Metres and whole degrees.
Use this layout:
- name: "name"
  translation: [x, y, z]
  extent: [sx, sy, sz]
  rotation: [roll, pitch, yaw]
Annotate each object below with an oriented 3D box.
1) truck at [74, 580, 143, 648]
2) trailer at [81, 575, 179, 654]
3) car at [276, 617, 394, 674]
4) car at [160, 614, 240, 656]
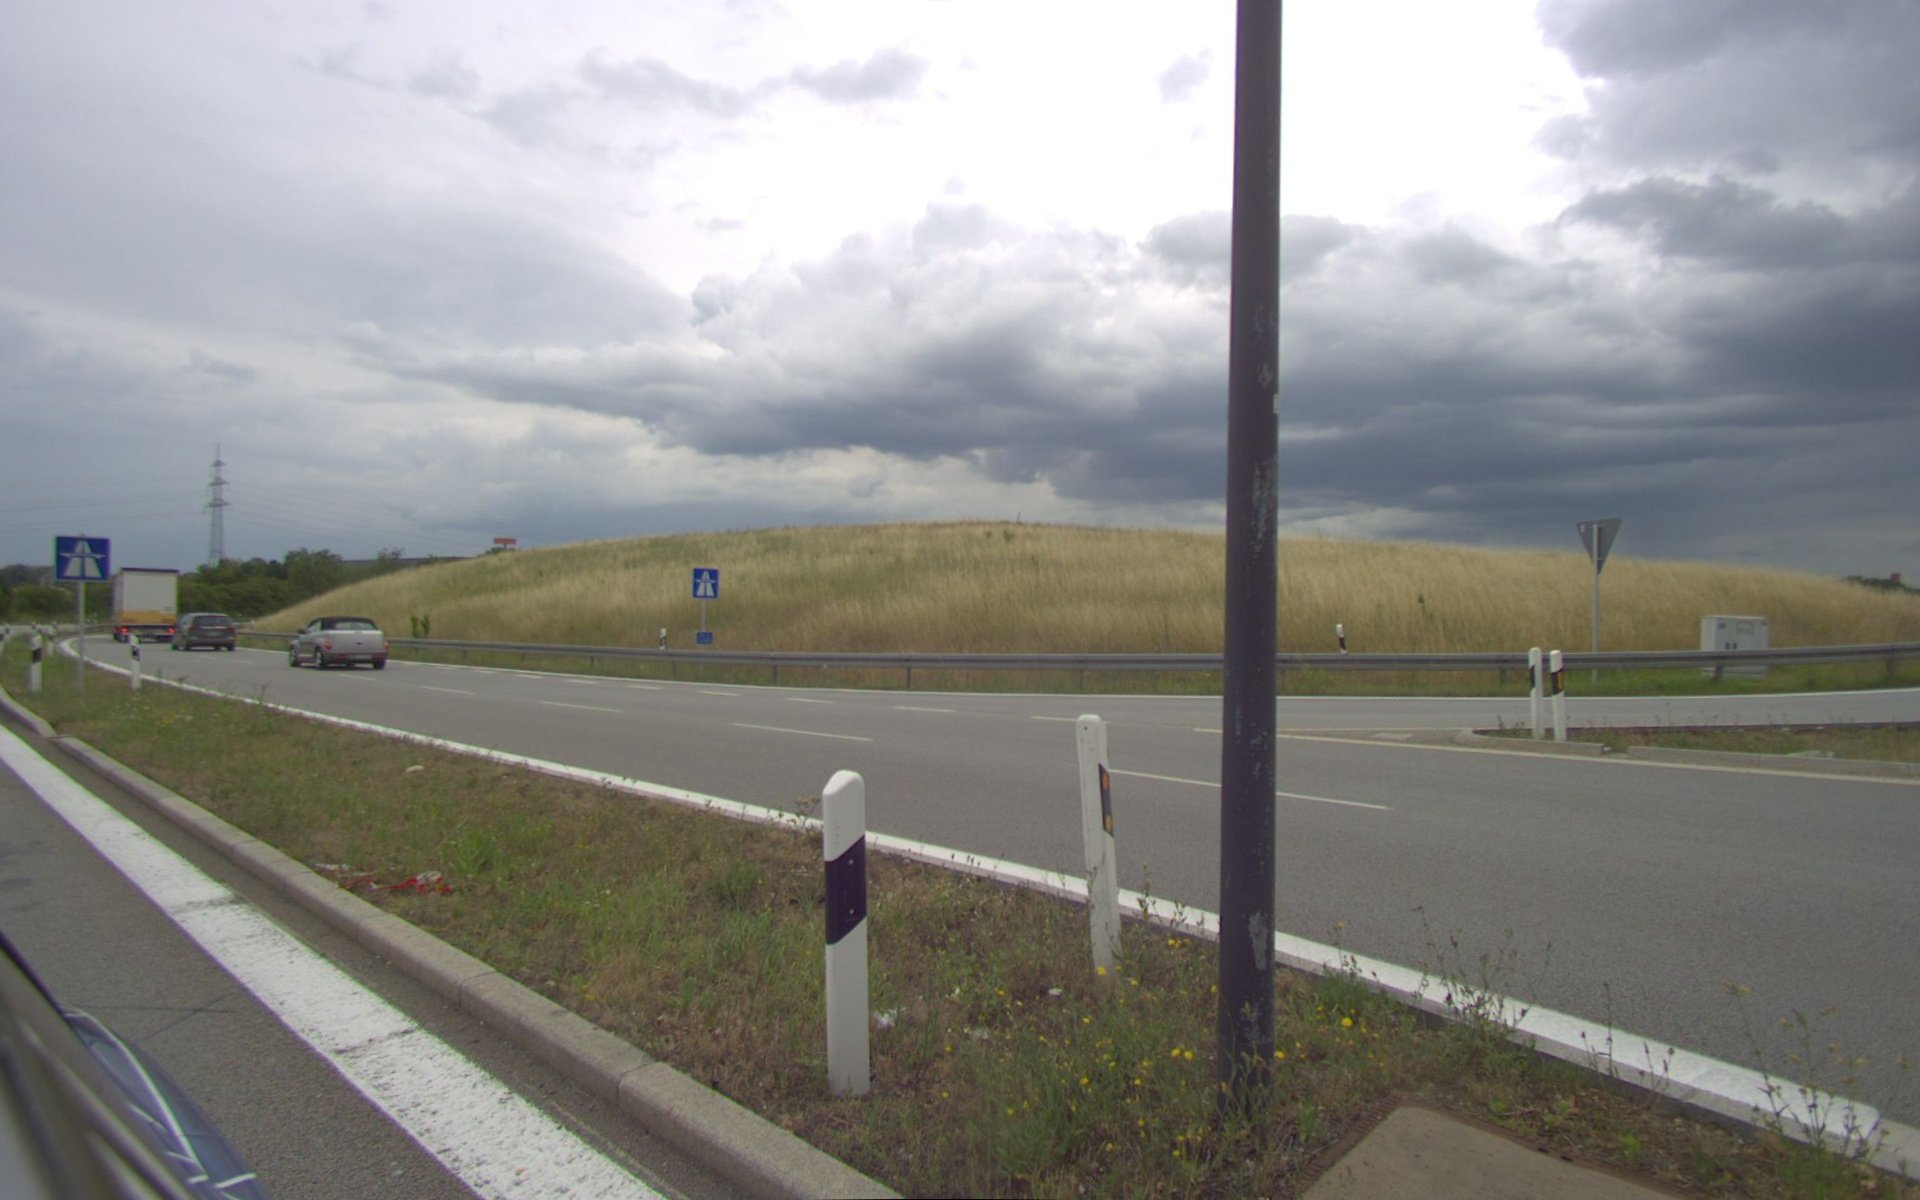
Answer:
- name: "truck"
  translation: [-54.737, 0.841, 65.014]
  extent: [6.404, 4.172, 2.620]
  rotation: [0, -1, 43]
- name: "trailer"
  translation: [-49.449, 0.799, 60.071]
  extent: [13.841, 4.242, 2.662]
  rotation: [0, -1, 43]
- name: "car"
  translation: [-18.254, 1.295, 29.473]
  extent: [4.240, 1.532, 1.791]
  rotation: [-2, -1, 42]
- name: "car"
  translation: [-33.621, 1.486, 44.704]
  extent: [4.453, 1.707, 1.972]
  rotation: [0, -1, 42]
